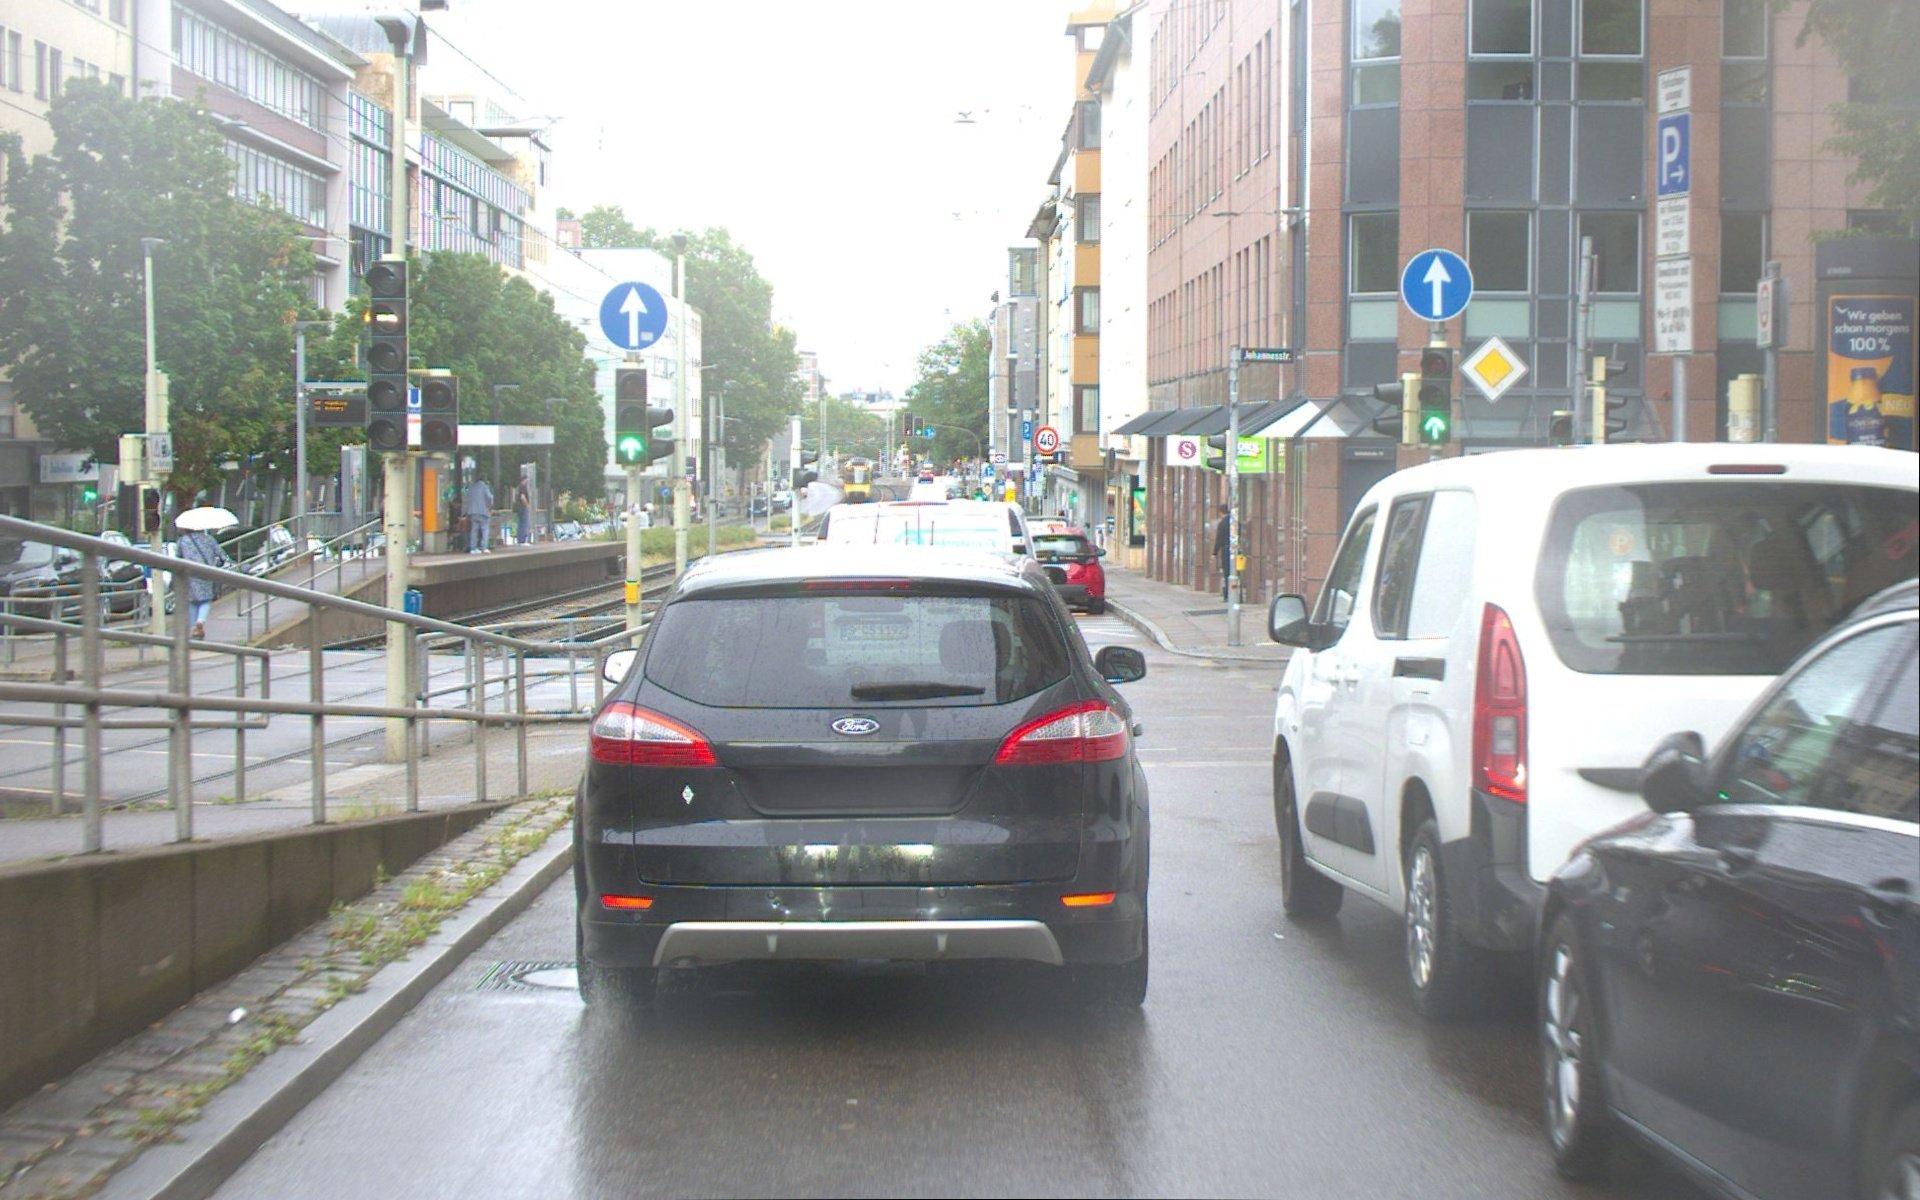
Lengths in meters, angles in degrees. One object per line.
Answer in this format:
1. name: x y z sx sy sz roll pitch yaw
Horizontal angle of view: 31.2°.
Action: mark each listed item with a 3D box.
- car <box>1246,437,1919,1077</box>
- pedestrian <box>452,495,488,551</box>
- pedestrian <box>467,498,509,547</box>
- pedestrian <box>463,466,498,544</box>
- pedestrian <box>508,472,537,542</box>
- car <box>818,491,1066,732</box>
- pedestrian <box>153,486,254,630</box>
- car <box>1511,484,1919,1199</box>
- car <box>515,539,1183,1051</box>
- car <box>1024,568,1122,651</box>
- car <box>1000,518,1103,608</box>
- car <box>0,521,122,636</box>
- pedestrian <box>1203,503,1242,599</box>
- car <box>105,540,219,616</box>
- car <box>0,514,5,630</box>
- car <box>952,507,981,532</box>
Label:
1. car: 2.250 0.407 12.113 1.906 1.800 4.778 0 1 -2
2. pedestrian: -10.979 -1.735 77.047 0.692 1.245 0.884 -1 1 -2
3. pedestrian: -10.929 -1.794 79.558 0.892 1.119 0.850 -1 1 -11
4. pedestrian: -10.475 -2.073 75.072 0.655 1.705 0.850 -1 1 -2
5. pedestrian: -11.273 -2.402 88.520 0.655 1.795 0.850 -1 1 -2
6. car: -0.137 0.058 28.854 1.906 1.858 4.574 0 1 0
7. pedestrian: -10.722 -0.600 48.765 1.116 2.007 1.383 -1 1 0
8. car: 2.327 0.614 6.357 1.906 1.610 4.414 0 1 0
9. car: -0.317 0.535 11.572 1.906 1.457 3.445 0 1 0
10. car: 2.120 0.156 65.365 1.698 1.457 3.867 -2 1 0
11. car: 1.610 -0.667 61.148 1.698 1.474 3.867 -2 1 1
12. car: -15.435 -0.391 57.782 1.802 1.852 4.381 -1 1 -3
13. pedestrian: 4.555 -0.849 59.640 0.601 1.653 0.625 -1 1 0
14. car: -15.882 -0.469 68.564 1.568 1.431 3.980 -1 1 -3
15. car: -16.135 -0.394 53.169 1.707 1.852 4.321 -1 1 -3
16. car: 0.458 -5.437 232.026 1.906 1.627 4.574 0 1 1
